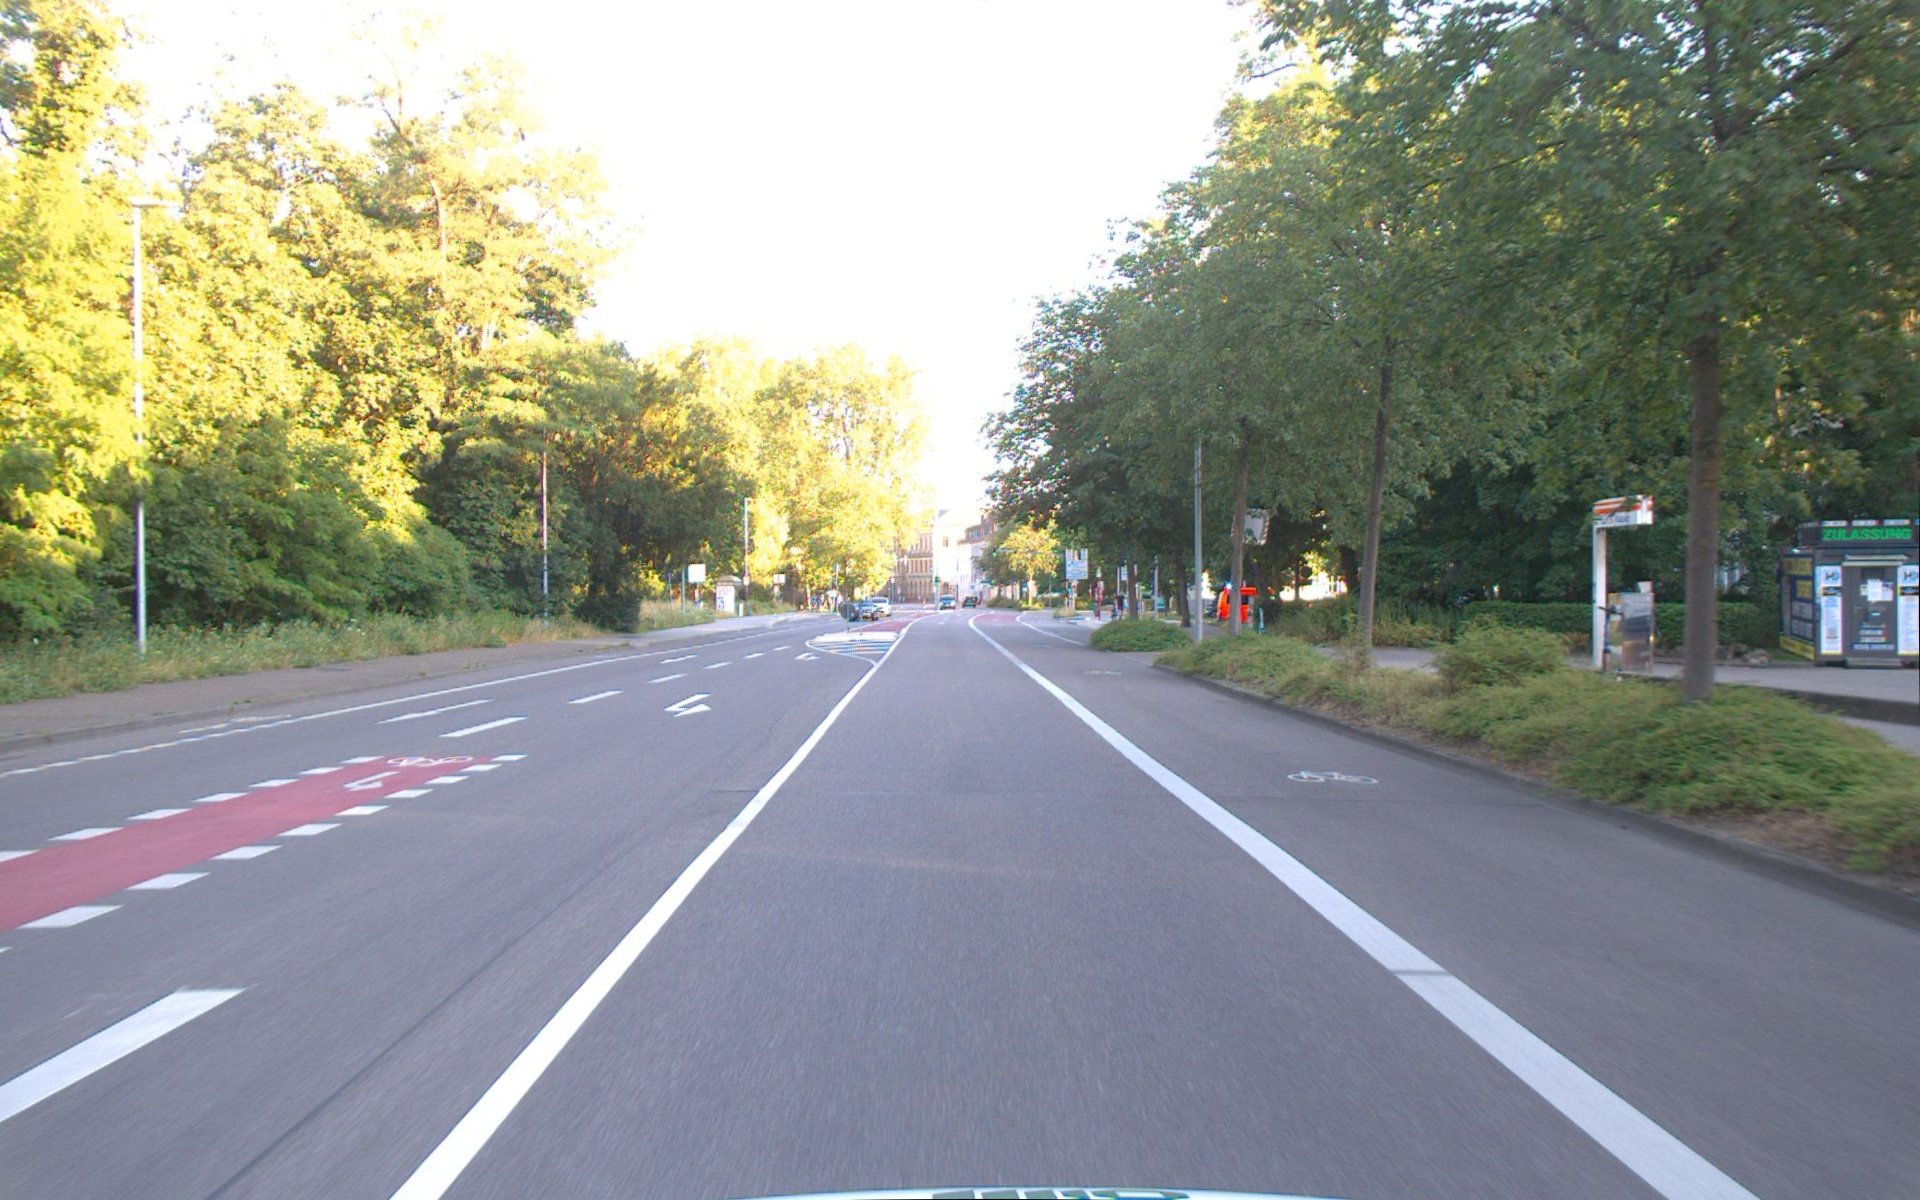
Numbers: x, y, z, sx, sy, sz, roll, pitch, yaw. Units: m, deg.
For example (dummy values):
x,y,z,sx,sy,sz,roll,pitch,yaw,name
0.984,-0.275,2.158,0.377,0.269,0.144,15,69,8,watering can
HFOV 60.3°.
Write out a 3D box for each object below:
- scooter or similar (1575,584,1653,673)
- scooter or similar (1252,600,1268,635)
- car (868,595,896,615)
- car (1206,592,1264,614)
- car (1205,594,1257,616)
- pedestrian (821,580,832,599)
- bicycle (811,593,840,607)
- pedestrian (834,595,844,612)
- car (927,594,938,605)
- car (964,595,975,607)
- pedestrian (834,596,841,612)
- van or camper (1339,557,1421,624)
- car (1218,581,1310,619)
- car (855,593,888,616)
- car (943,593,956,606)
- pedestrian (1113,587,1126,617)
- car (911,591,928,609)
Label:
x,y,z,sx,sy,sz,roll,pitch,yaw,name
9.899,0.422,25.088,0.585,1.304,1.468,0,0,0,scooter or similar
9.441,0.543,52.011,0.304,1.060,0.980,-1,0,0,scooter or similar
-5.932,0.349,125.971,1.760,1.478,4.128,0,0,2,car
21.287,0.222,128.039,4.364,1.618,1.717,0,0,7,car
19.643,0.356,119.933,3.693,1.618,1.717,0,0,7,car
-11.621,-0.915,144.137,0.774,1.608,0.746,1,0,8,pedestrian
-11.711,-0.009,144.169,2.410,1.216,0.757,0,0,9,bicycle
-11.085,0.317,151.194,0.774,1.608,0.746,1,0,8,pedestrian
-4.061,-0.067,245.758,1.462,1.512,3.490,0,0,0,car
1.290,0.144,222.137,1.462,1.512,3.490,0,0,0,car
-11.022,0.350,149.167,0.569,1.455,0.559,1,0,-9,pedestrian
21.985,-0.493,87.025,3.364,3.255,8.238,2,0,9,van or camper
16.571,-0.005,90.349,4.806,2.024,1.923,0,0,7,car
-5.733,0.297,107.641,1.760,1.478,4.128,0,0,2,car
-1.187,-0.035,190.589,1.462,1.512,3.490,0,0,0,car
9.575,0.117,99.266,0.754,1.770,0.731,0,0,0,pedestrian
-3.544,-0.024,145.443,1.462,1.512,3.490,0,0,0,car
